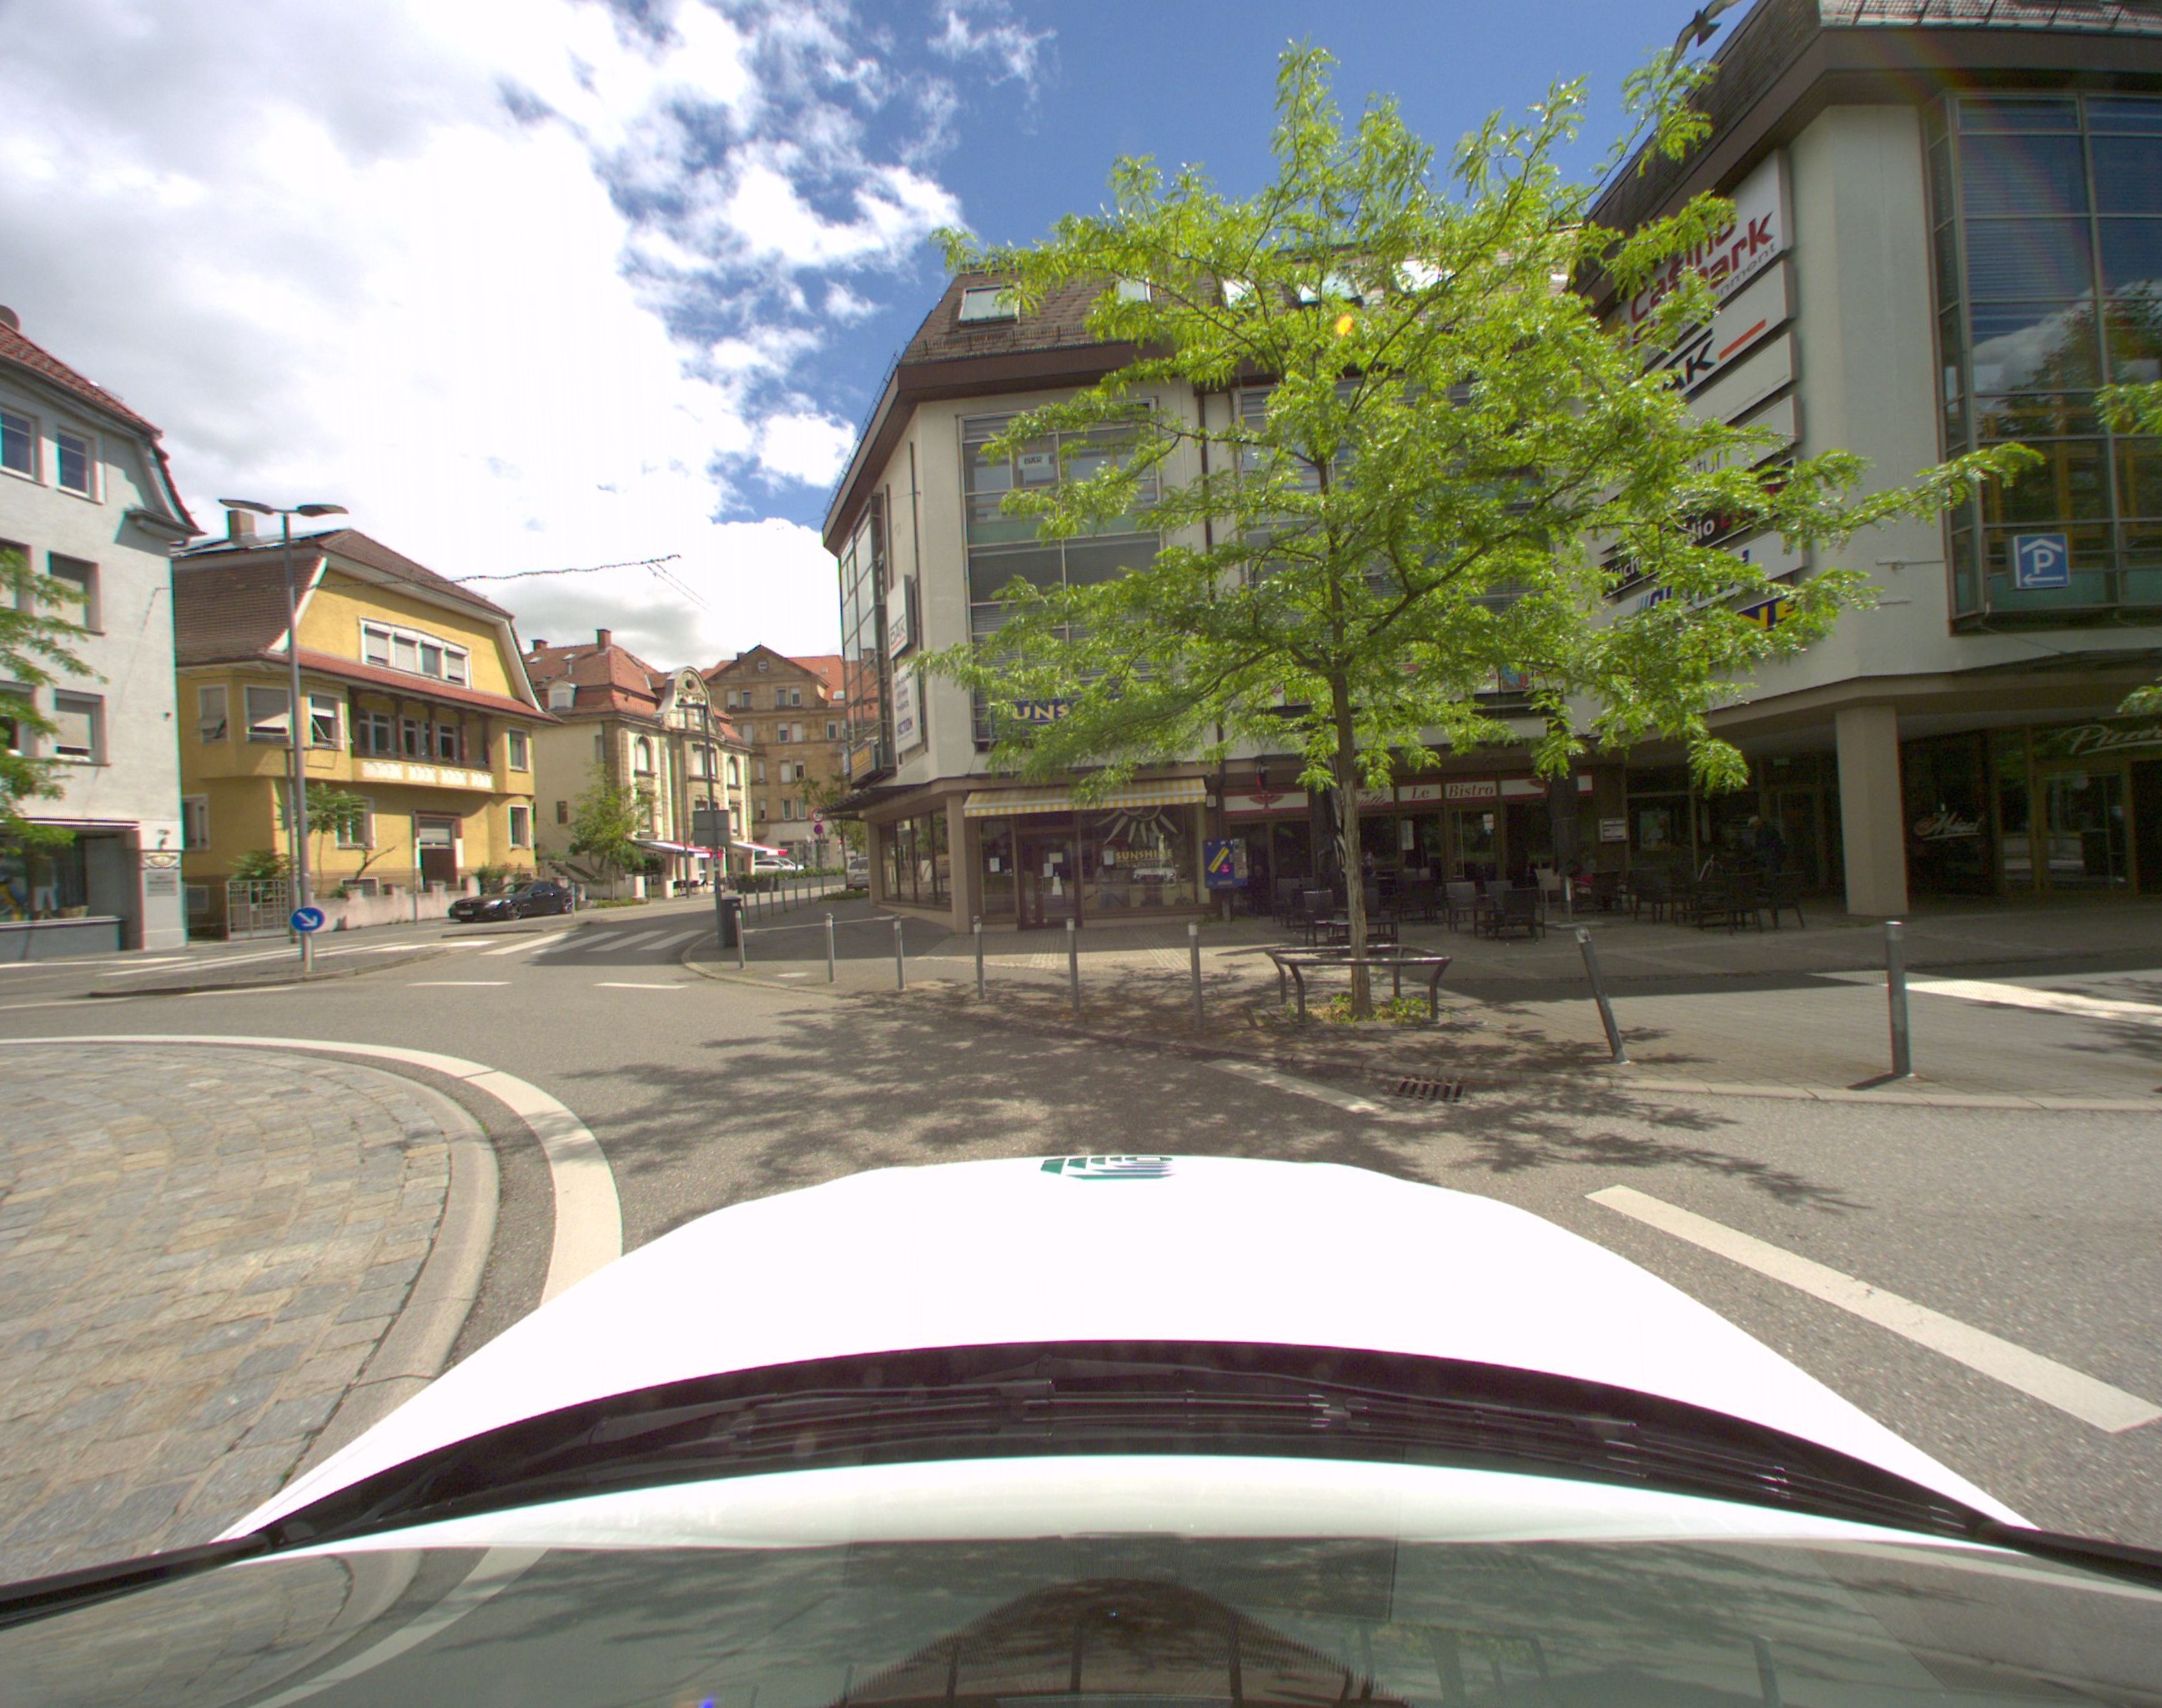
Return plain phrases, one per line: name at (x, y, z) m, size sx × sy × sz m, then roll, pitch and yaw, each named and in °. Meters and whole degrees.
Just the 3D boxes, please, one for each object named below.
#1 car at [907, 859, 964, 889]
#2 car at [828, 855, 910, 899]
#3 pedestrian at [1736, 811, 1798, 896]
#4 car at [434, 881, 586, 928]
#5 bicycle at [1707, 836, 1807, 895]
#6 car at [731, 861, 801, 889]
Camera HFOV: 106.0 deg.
car at (-8.562, 1.136, 48.350) m, size 1.813 × 1.519 × 4.246 m, roll -4°, pitch 0°, yaw 11°
car at (-9.500, 1.010, 36.851) m, size 1.813 × 1.731 × 4.246 m, roll -4°, pitch 0°, yaw 11°
pedestrian at (13.897, -0.018, 16.515) m, size 0.694 × 1.674 × 0.616 m, roll -2°, pitch 0°, yaw -4°
car at (-19.730, 1.716, 28.415) m, size 1.700 × 1.245 × 4.422 m, roll -2°, pitch 1°, yaw 9°
bicycle at (13.782, 0.237, 16.638) m, size 1.523 × 1.168 × 0.499 m, roll -2°, pitch -1°, yaw 40°
car at (-23.246, 1.530, 60.194) m, size 4.417 × 1.775 × 1.994 m, roll -2°, pitch 0°, yaw -9°
